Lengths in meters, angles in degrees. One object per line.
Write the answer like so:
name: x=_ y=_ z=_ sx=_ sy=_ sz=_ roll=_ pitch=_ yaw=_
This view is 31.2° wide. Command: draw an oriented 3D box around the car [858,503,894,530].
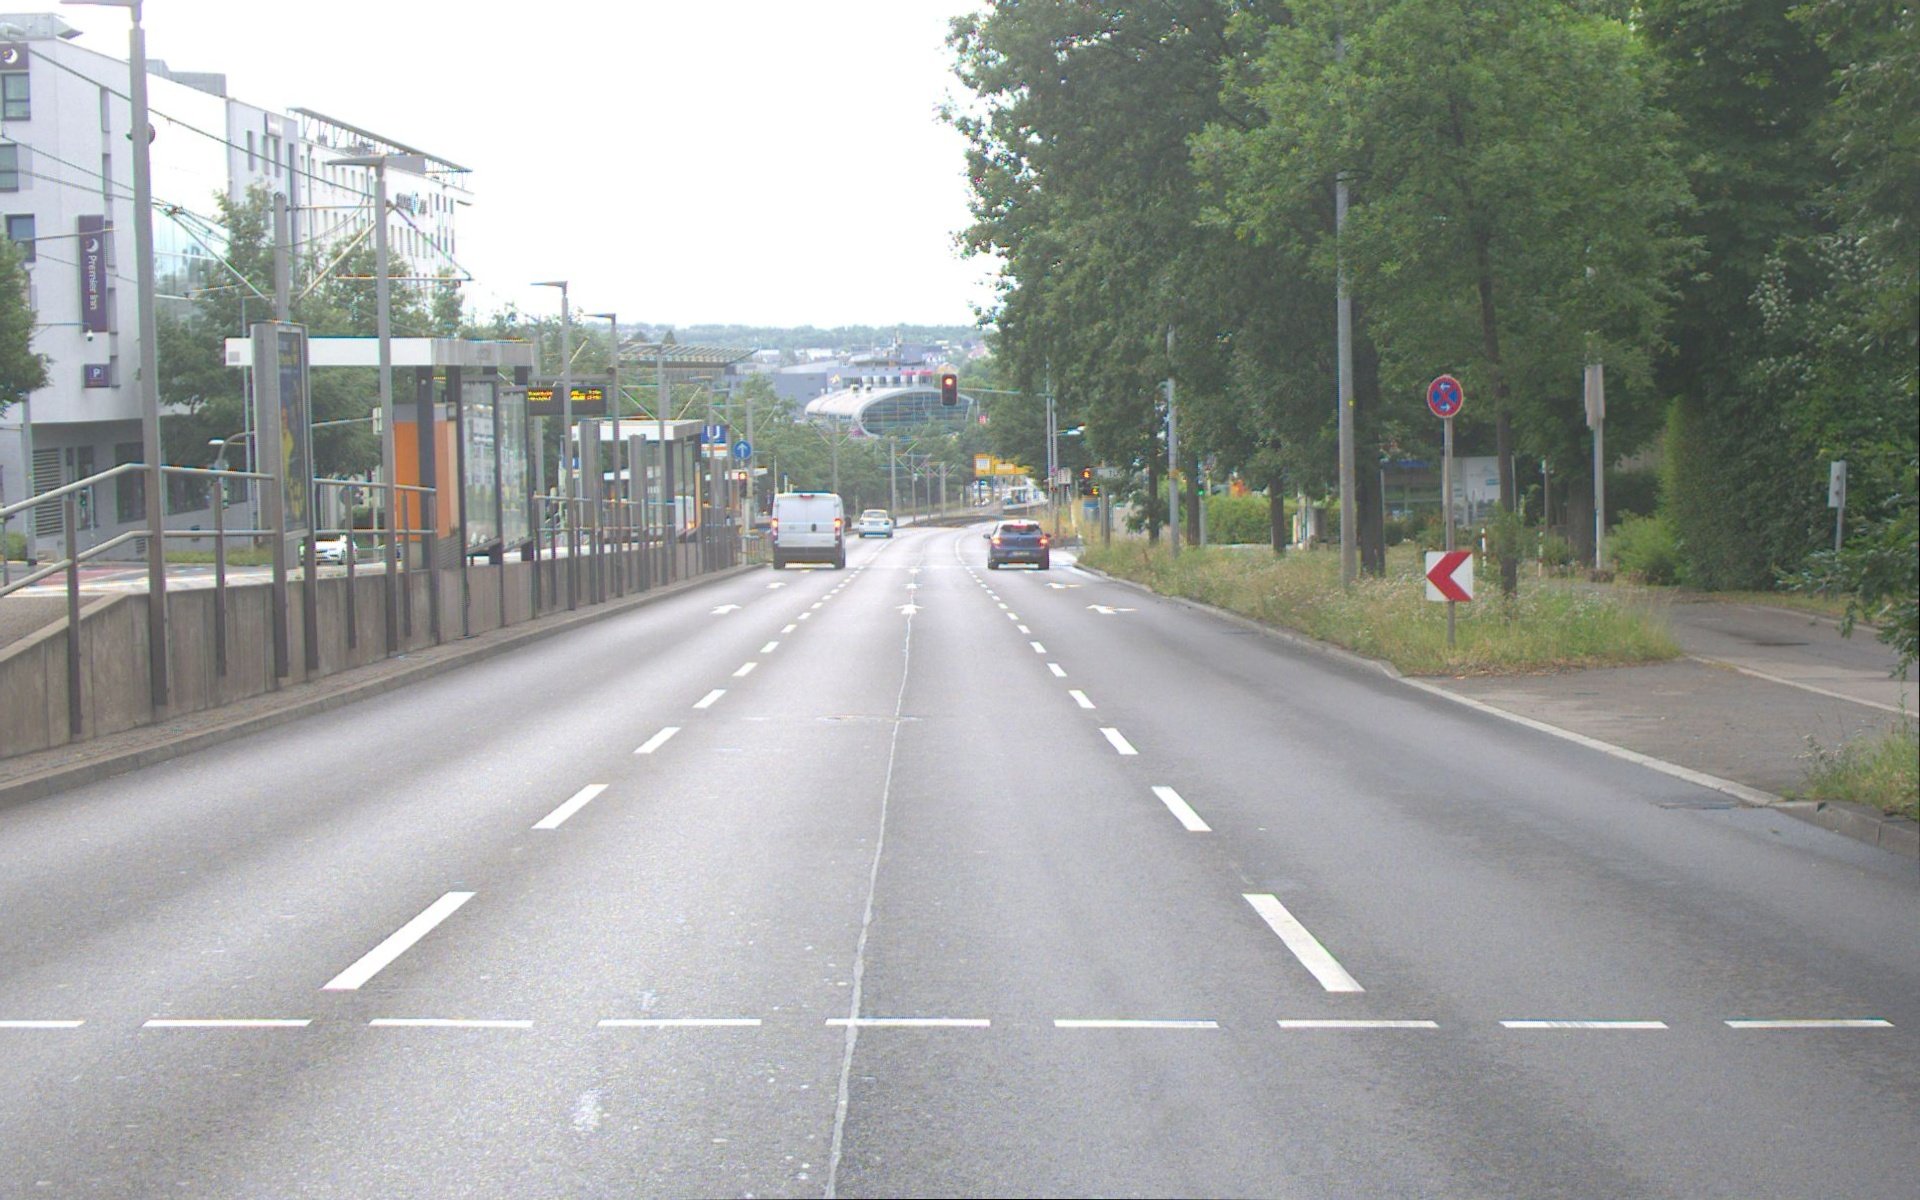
car: x=-4.409 y=-4.413 z=180.677 sx=1.783 sy=1.385 sz=4.000 roll=0 pitch=1 yaw=0

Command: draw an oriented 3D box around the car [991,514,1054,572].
car: x=1.848 y=-1.720 z=102.779 sx=1.774 sy=1.685 sz=3.846 roll=0 pitch=1 yaw=-1

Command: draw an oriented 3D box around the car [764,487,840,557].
car: x=-4.685 y=-2.329 z=102.476 sx=2.093 sy=2.046 sz=4.607 roll=0 pitch=1 yaw=-1

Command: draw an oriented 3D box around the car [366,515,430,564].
car: x=-17.689 y=-1.892 z=108.133 sx=1.650 sy=1.431 sz=3.881 roll=-3 pitch=1 yaw=-13
